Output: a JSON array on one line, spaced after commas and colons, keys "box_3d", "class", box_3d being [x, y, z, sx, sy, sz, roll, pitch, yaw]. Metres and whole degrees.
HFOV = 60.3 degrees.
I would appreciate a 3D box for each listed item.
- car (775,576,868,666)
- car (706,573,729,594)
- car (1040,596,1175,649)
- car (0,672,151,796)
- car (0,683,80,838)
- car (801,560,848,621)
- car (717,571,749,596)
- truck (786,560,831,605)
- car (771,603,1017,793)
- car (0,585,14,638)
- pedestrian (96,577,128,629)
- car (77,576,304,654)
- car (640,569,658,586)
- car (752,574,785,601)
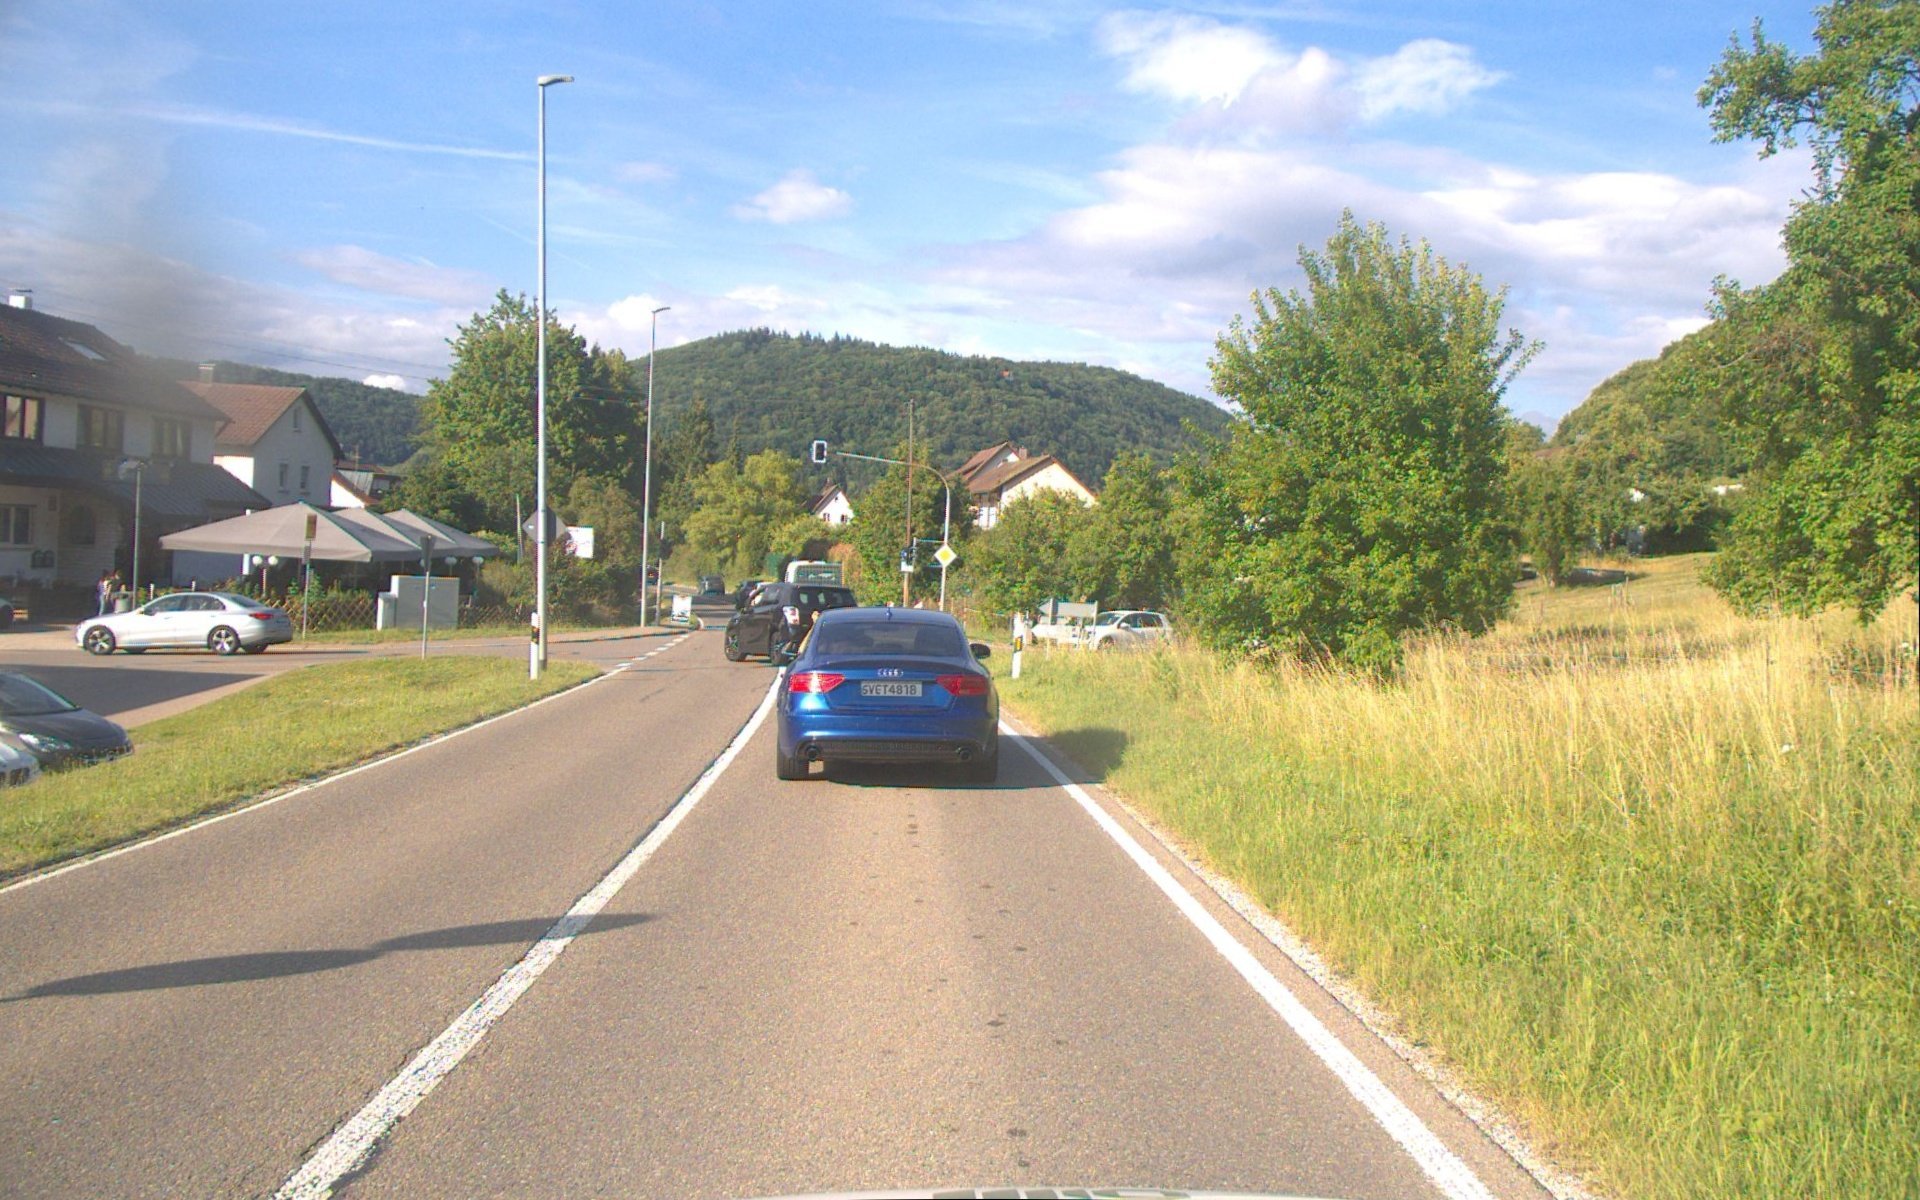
[{"box_3d": [-2.855, 0.415, 33.477, 1.713, 1.668, 3.994, 1, -1, -7], "class": "car"}, {"box_3d": [-18.599, -1.255, 126.861, 1.666, 1.516, 3.520, 1, -1, -8], "class": "car"}, {"box_3d": [4.558, 0.710, 50.892, 4.019, 1.534, 1.828, 2, -1, -40], "class": "car"}, {"box_3d": [-12.299, 1.579, 20.291, 3.902, 1.333, 1.762, 1, -1, 7], "class": "car"}, {"box_3d": [-12.131, 1.640, 17.601, 4.711, 1.520, 1.882, 1, -1, 11], "class": "car"}, {"box_3d": [-5.207, -0.329, 63.391, 1.712, 2.234, 3.995, 1, -1, -5], "class": "car"}, {"box_3d": [-14.610, -1.066, 106.414, 1.669, 1.516, 3.514, 1, -1, -14], "class": "car"}, {"box_3d": [-7.323, -0.802, 79.502, 1.667, 1.988, 5.907, 1, -1, -10], "class": "truck"}, {"box_3d": [-0.426, 0.751, 14.403, 1.758, 1.412, 4.001, 0, -1, 3], "class": "car"}, {"box_3d": [-27.584, 0.302, 44.910, 1.524, 1.475, 3.999, 1, -1, -1], "class": "car"}, {"box_3d": [-25.275, 0.082, 49.290, 0.596, 1.529, 0.589, 1, -1, -1], "class": "pedestrian"}, {"box_3d": [-17.786, 0.354, 38.398, 4.360, 1.668, 1.809, 1, -1, -3], "class": "car"}, {"box_3d": [-29.907, -2.157, 159.132, 1.597, 1.604, 3.669, 1, -1, -11], "class": "car"}, {"box_3d": [-11.145, -0.705, 96.317, 1.667, 1.516, 3.518, 1, -1, -10], "class": "car"}]
